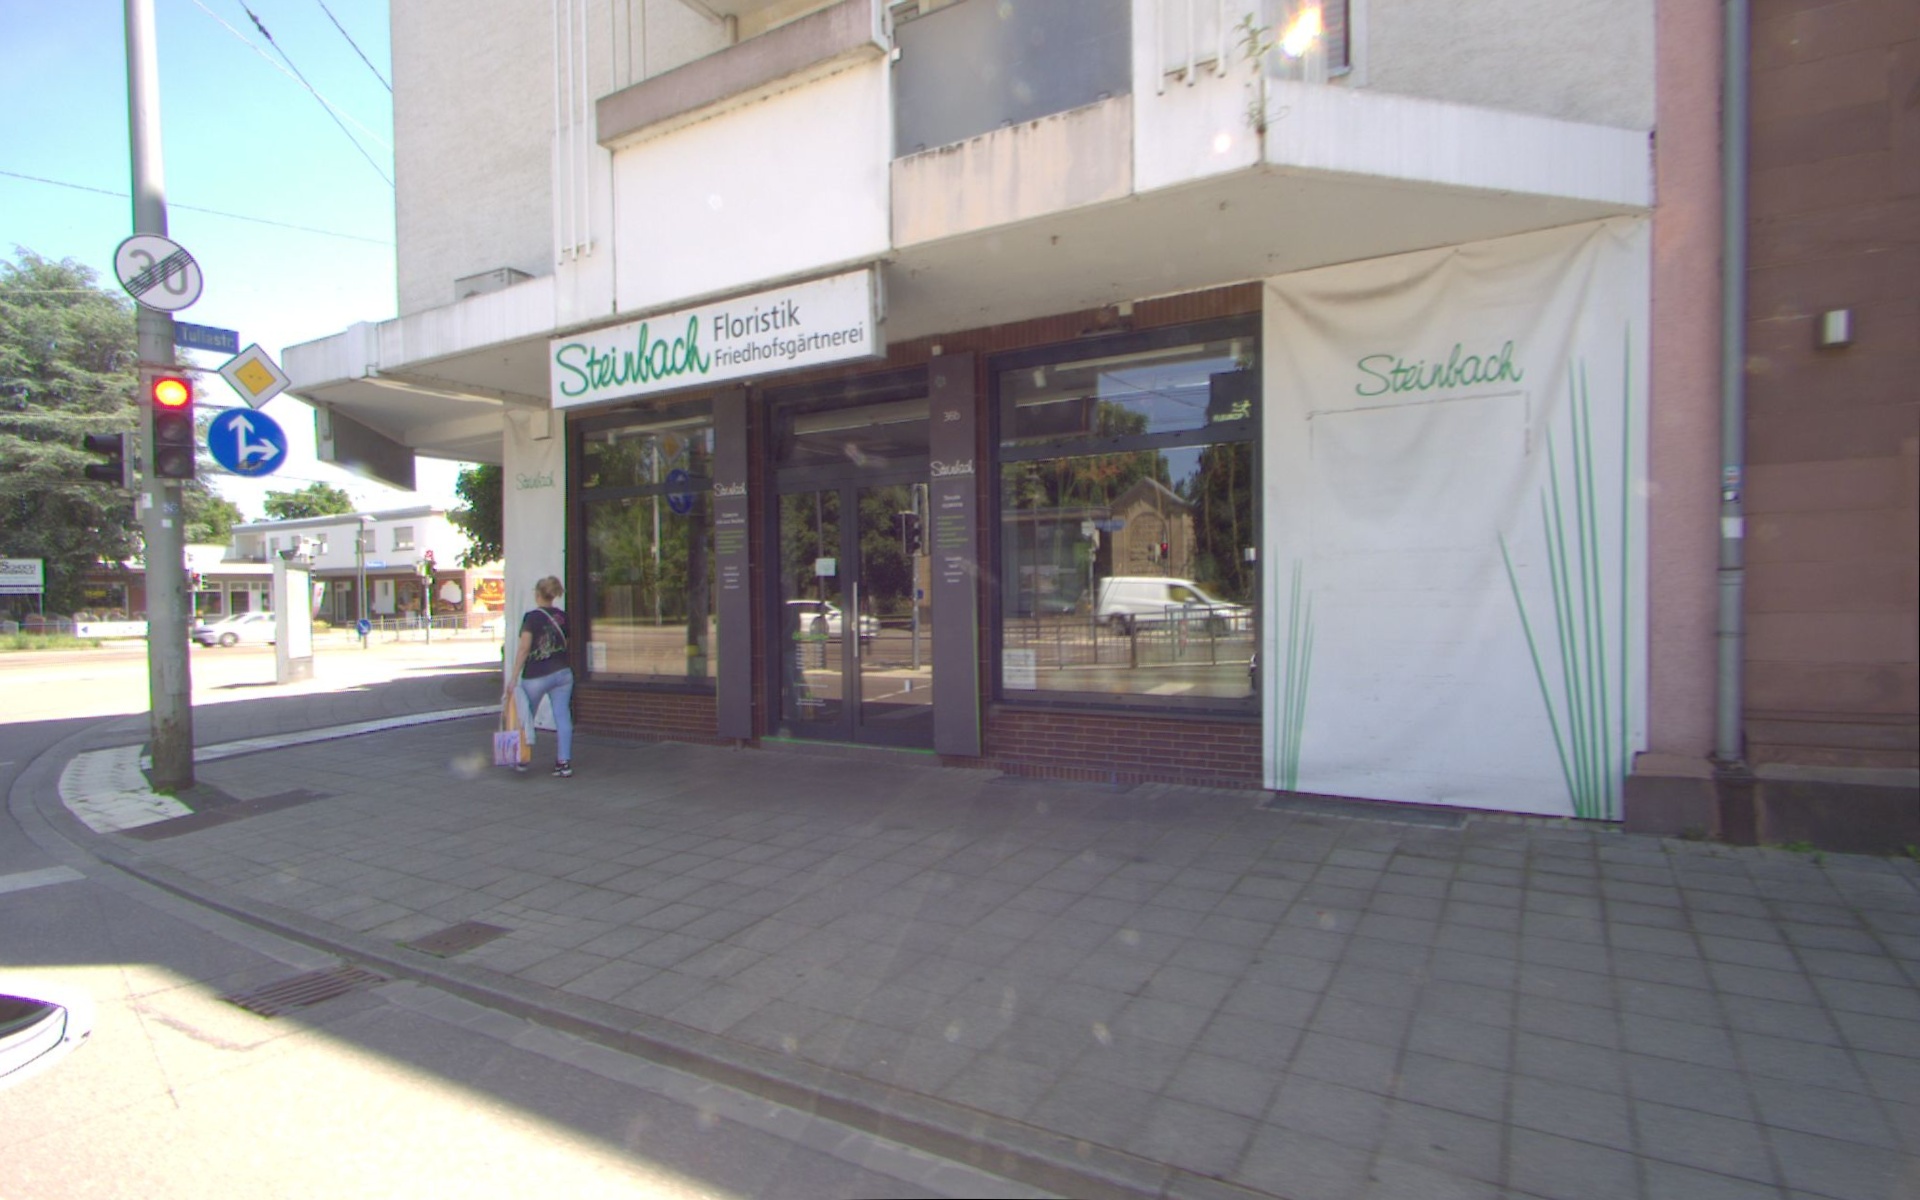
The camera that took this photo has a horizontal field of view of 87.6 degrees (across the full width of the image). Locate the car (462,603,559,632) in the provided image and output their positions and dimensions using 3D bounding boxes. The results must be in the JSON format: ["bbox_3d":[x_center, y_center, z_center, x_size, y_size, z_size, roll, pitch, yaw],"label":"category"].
[{"bbox_3d":[-23.921,0.905,53.490,1.799,1.509,4.473,0,0,34],"label":"car"}]

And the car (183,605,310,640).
[{"bbox_3d":[-30.206,0.932,42.504,1.796,1.381,4.033,0,0,30],"label":"car"}]

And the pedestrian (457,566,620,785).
[{"bbox_3d":[-3.368,0.558,8.022,0.816,1.606,0.822,0,4,38],"label":"pedestrian"}]
